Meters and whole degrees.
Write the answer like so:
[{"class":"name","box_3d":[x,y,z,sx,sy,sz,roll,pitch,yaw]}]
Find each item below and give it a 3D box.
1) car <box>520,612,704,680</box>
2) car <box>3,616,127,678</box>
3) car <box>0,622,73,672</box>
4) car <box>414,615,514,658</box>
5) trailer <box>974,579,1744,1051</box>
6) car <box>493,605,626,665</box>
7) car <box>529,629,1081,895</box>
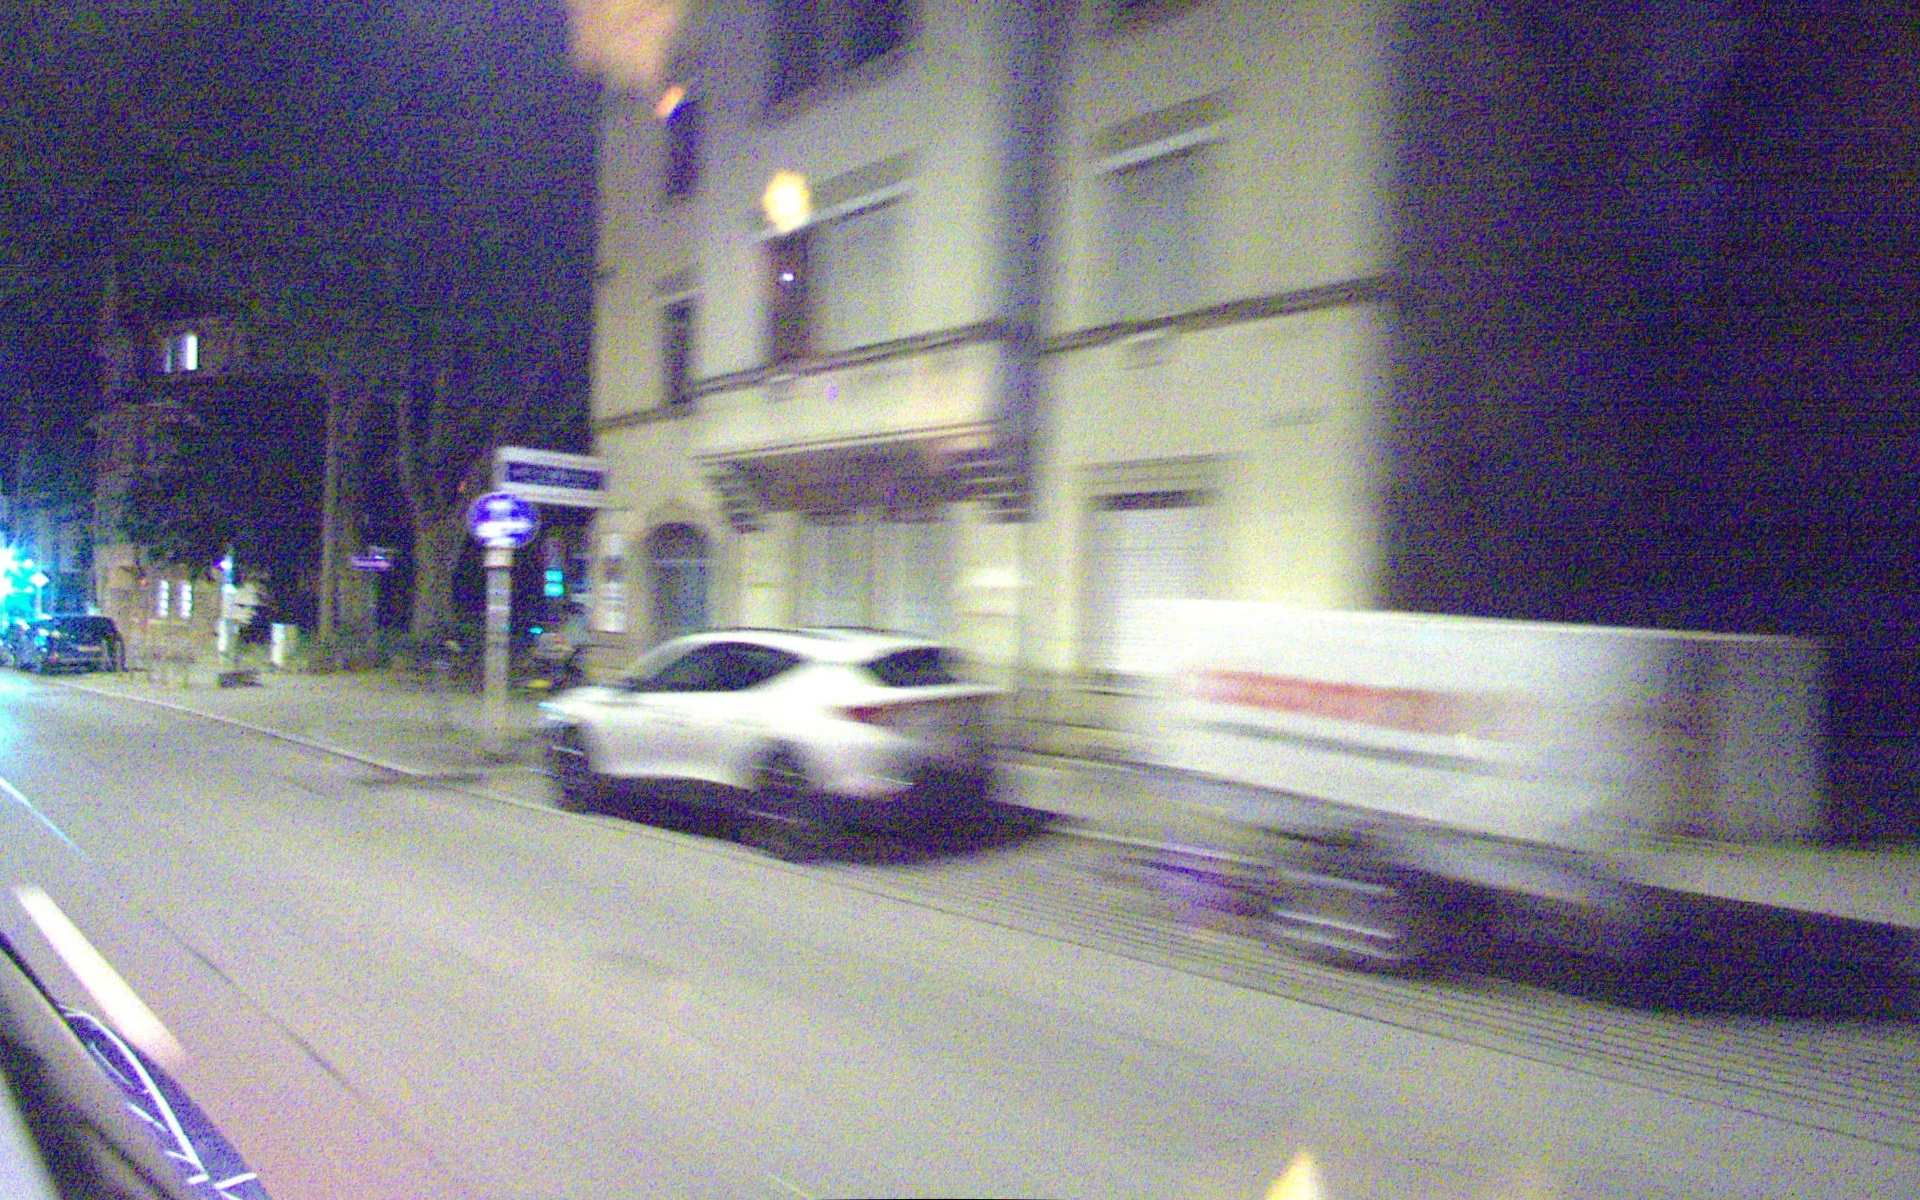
[{"class":"car","box_3d":[-8.544,1.081,24.996,3.937,1.436,1.765,-2,0,-40]},{"class":"car","box_3d":[-25.843,1.337,29.175,4.664,1.663,1.831,-2,-2,38]},{"class":"car","box_3d":[-30.404,1.473,32.934,3.696,1.526,1.632,-1,-1,37]},{"class":"car","box_3d":[-16.053,1.152,32.692,3.559,1.327,1.541,-1,-1,39]},{"class":"trailer","box_3d":[1.855,0.780,5.356,1.619,1.652,3.441,1,-1,-45]},{"class":"car","box_3d":[-11.519,0.958,29.001,4.184,1.549,1.739,-1,1,40]},{"class":"car","box_3d":[-1.382,0.978,7.832,4.343,1.496,1.796,-1,-2,39]}]
